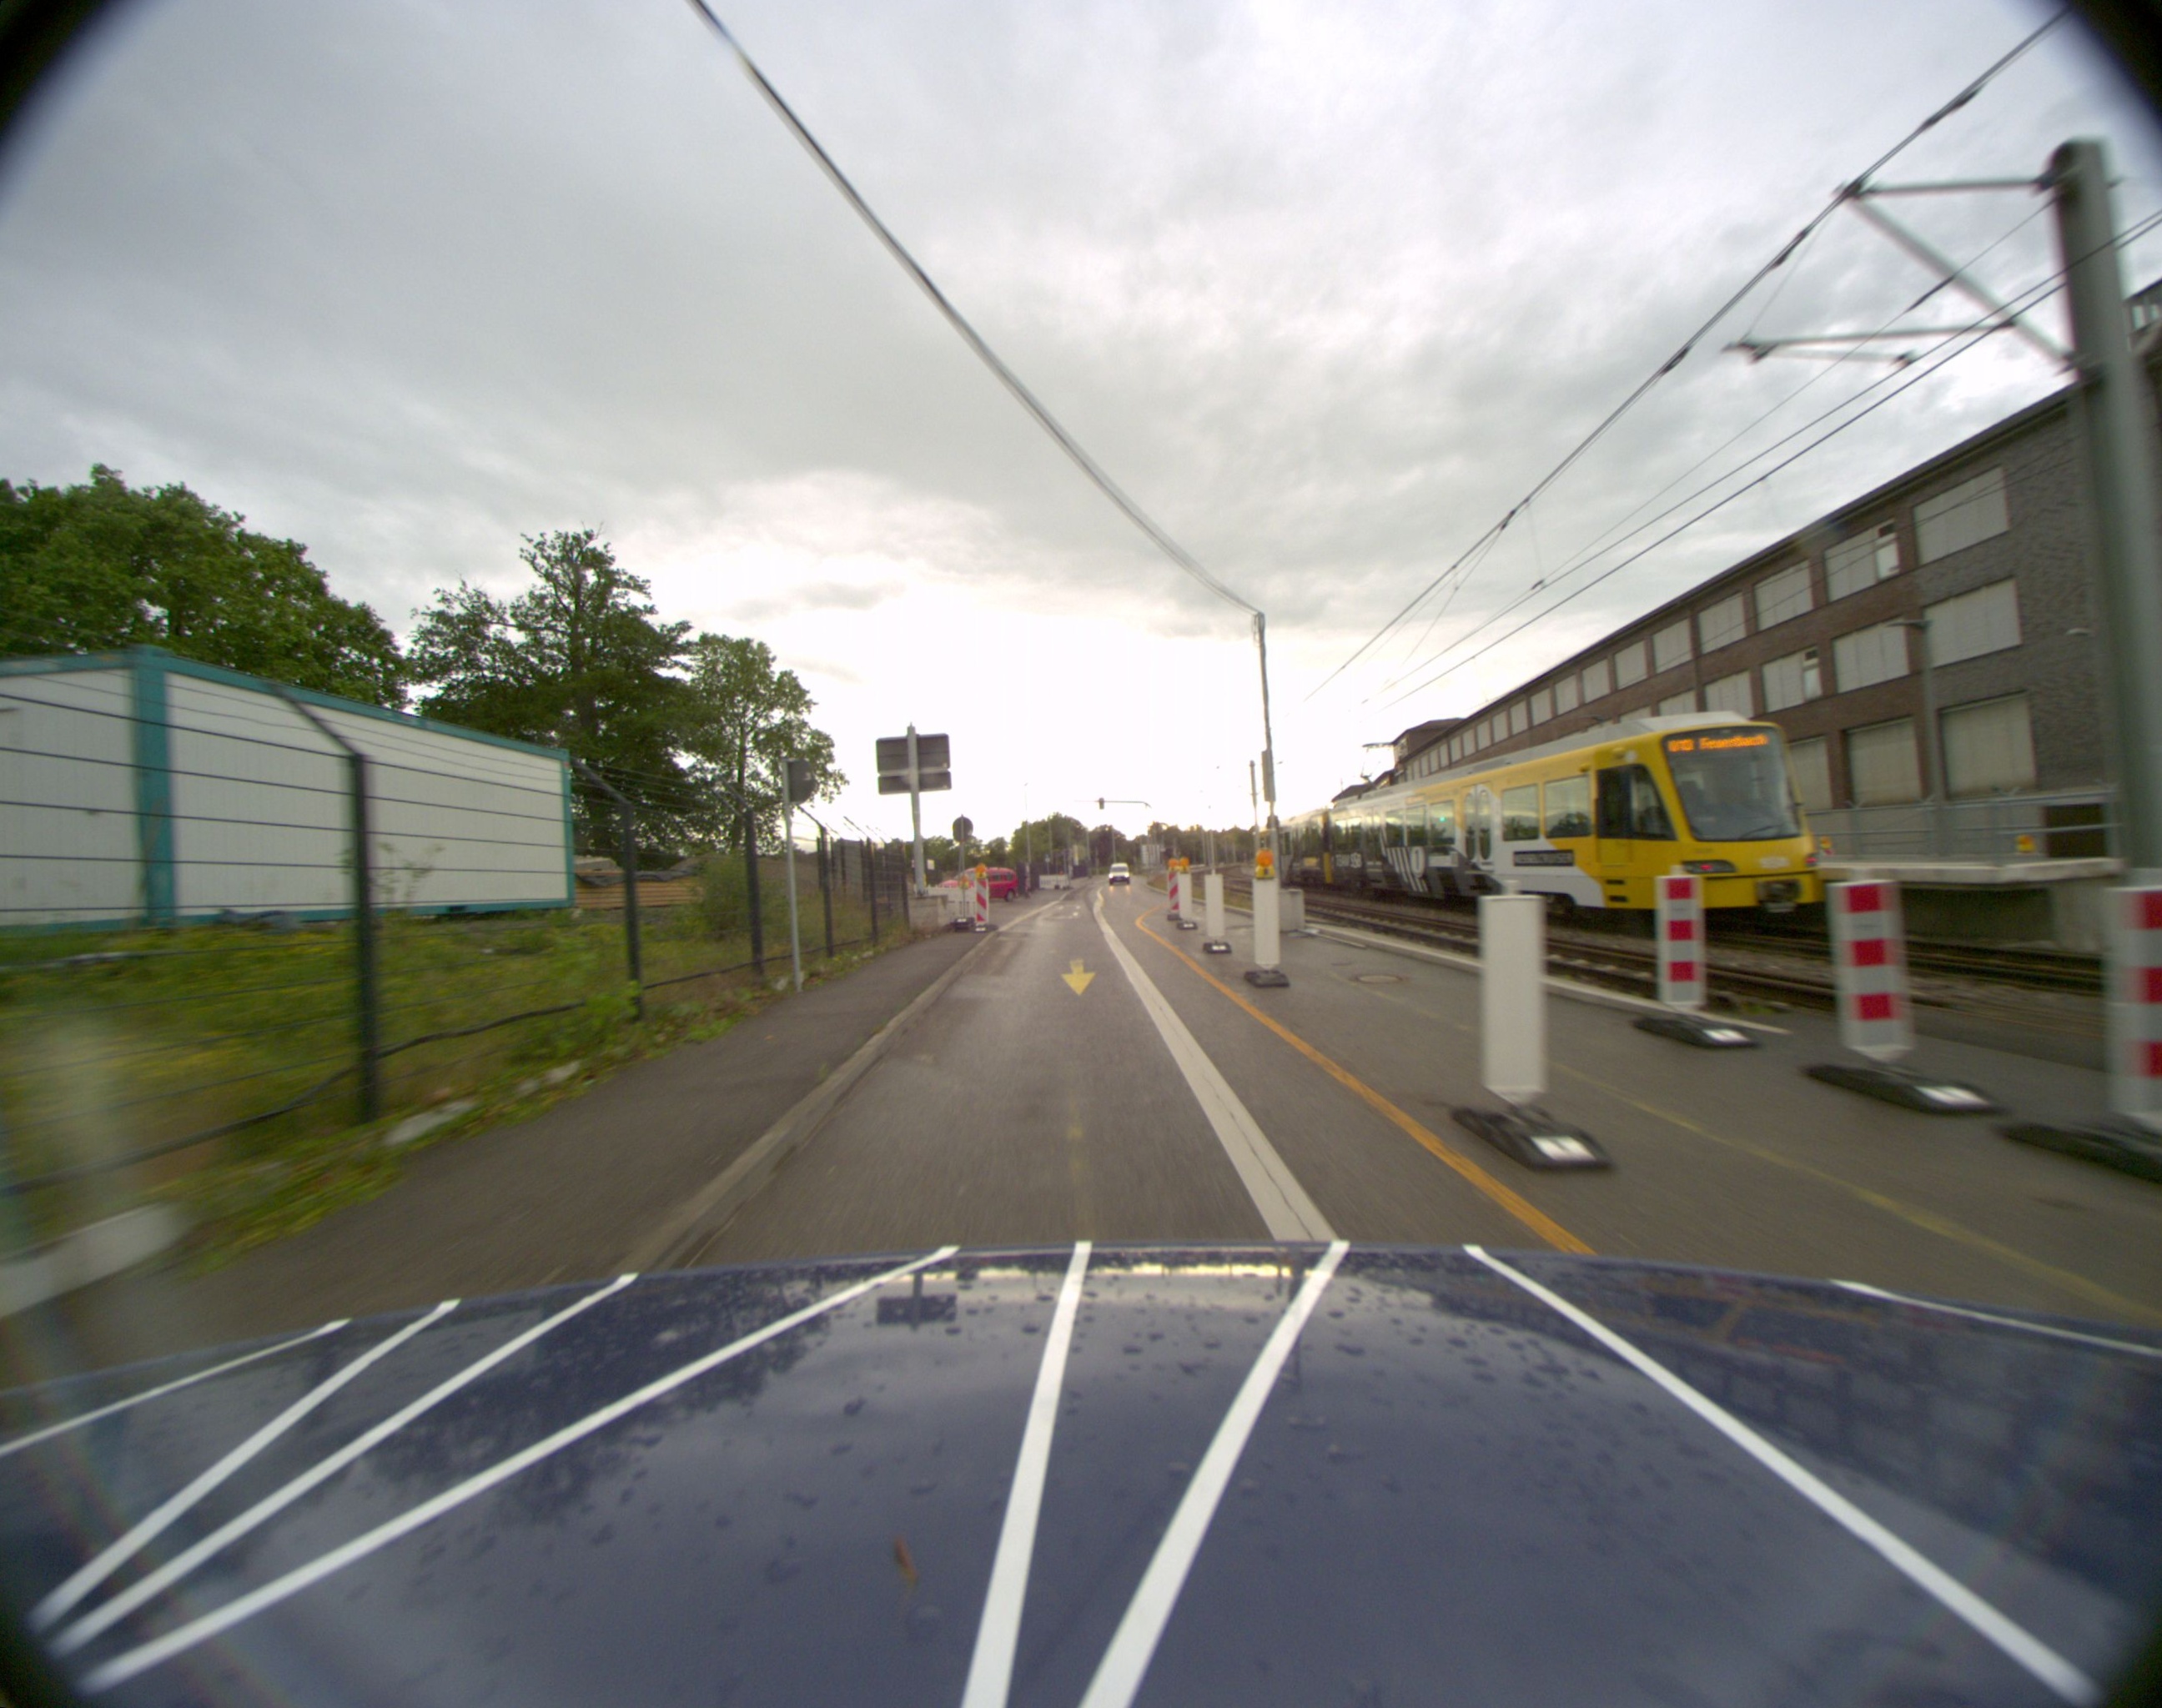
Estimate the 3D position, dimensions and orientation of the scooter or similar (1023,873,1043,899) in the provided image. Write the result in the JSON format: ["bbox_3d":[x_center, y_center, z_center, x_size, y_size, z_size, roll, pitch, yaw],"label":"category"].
[{"bbox_3d":[-2.601,1.710,41.297,0.616,1.343,1.913,-3,-1,9],"label":"scooter or similar"}]

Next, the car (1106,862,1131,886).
[{"bbox_3d":[3.314,1.738,67.791,1.998,2.002,4.000,-2,0,1],"label":"car"}]

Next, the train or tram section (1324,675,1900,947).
[{"bbox_3d":[11.029,-0.531,21.052,2.962,3.862,19.296,-4,-1,2],"label":"train or tram section"}]

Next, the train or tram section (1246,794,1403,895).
[{"bbox_3d":[11.940,-0.288,40.496,2.962,3.862,19.579,-4,-1,3],"label":"train or tram section"}]

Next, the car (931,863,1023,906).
[{"bbox_3d":[-4.887,1.425,36.232,1.821,1.783,4.417,-3,-1,33],"label":"car"}]

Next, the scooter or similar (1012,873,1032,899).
[{"bbox_3d":[-3.274,1.755,42.041,0.616,1.343,1.913,-3,-1,9],"label":"scooter or similar"}]
